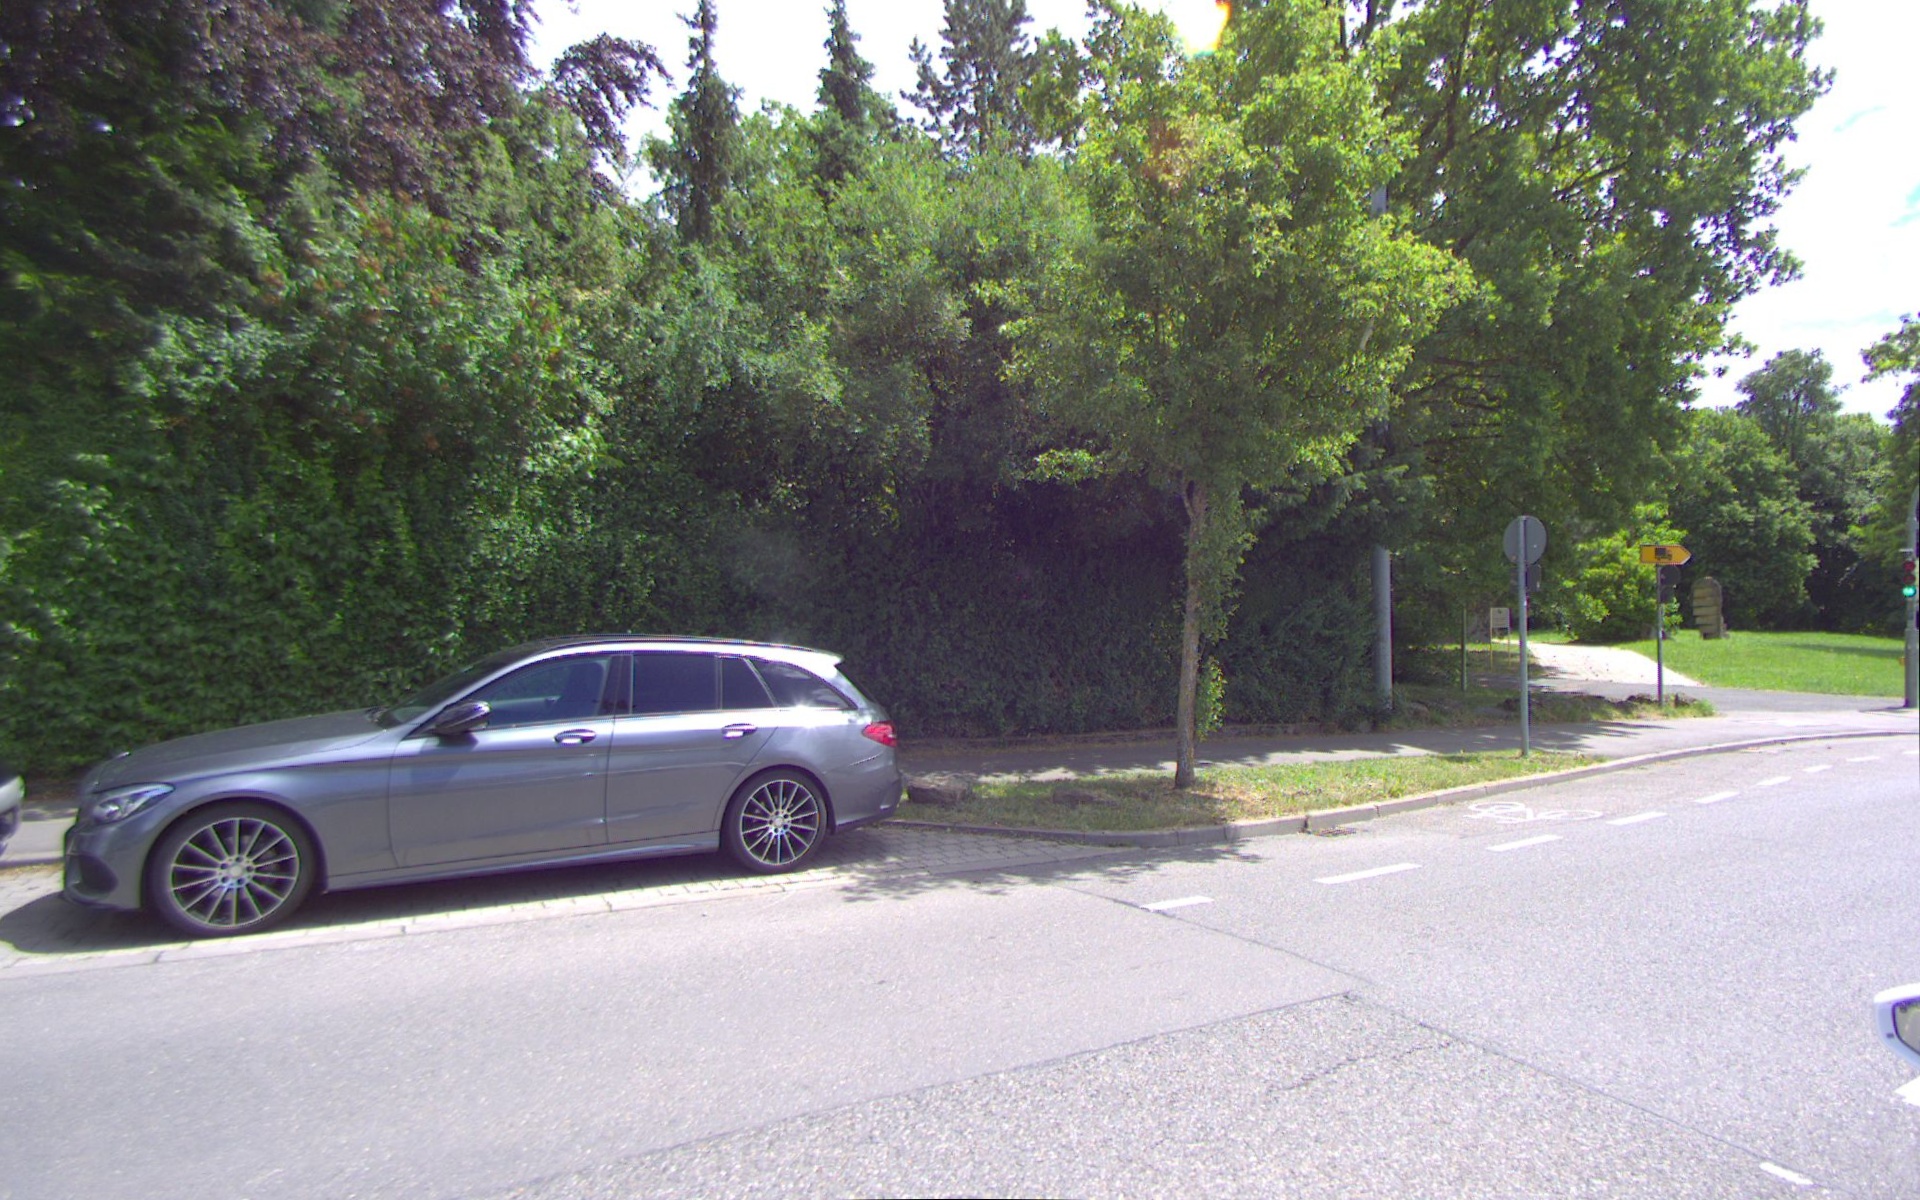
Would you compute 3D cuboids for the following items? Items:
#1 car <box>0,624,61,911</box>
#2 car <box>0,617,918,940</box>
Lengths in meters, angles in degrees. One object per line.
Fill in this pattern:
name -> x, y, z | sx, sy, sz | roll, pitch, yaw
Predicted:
car -> -6.502, 0.817, 4.350 | 3.552, 1.470, 1.589 | 2, -1, -29
car -> -2.711, 0.872, 6.284 | 4.631, 1.383, 1.687 | 2, -1, -30
